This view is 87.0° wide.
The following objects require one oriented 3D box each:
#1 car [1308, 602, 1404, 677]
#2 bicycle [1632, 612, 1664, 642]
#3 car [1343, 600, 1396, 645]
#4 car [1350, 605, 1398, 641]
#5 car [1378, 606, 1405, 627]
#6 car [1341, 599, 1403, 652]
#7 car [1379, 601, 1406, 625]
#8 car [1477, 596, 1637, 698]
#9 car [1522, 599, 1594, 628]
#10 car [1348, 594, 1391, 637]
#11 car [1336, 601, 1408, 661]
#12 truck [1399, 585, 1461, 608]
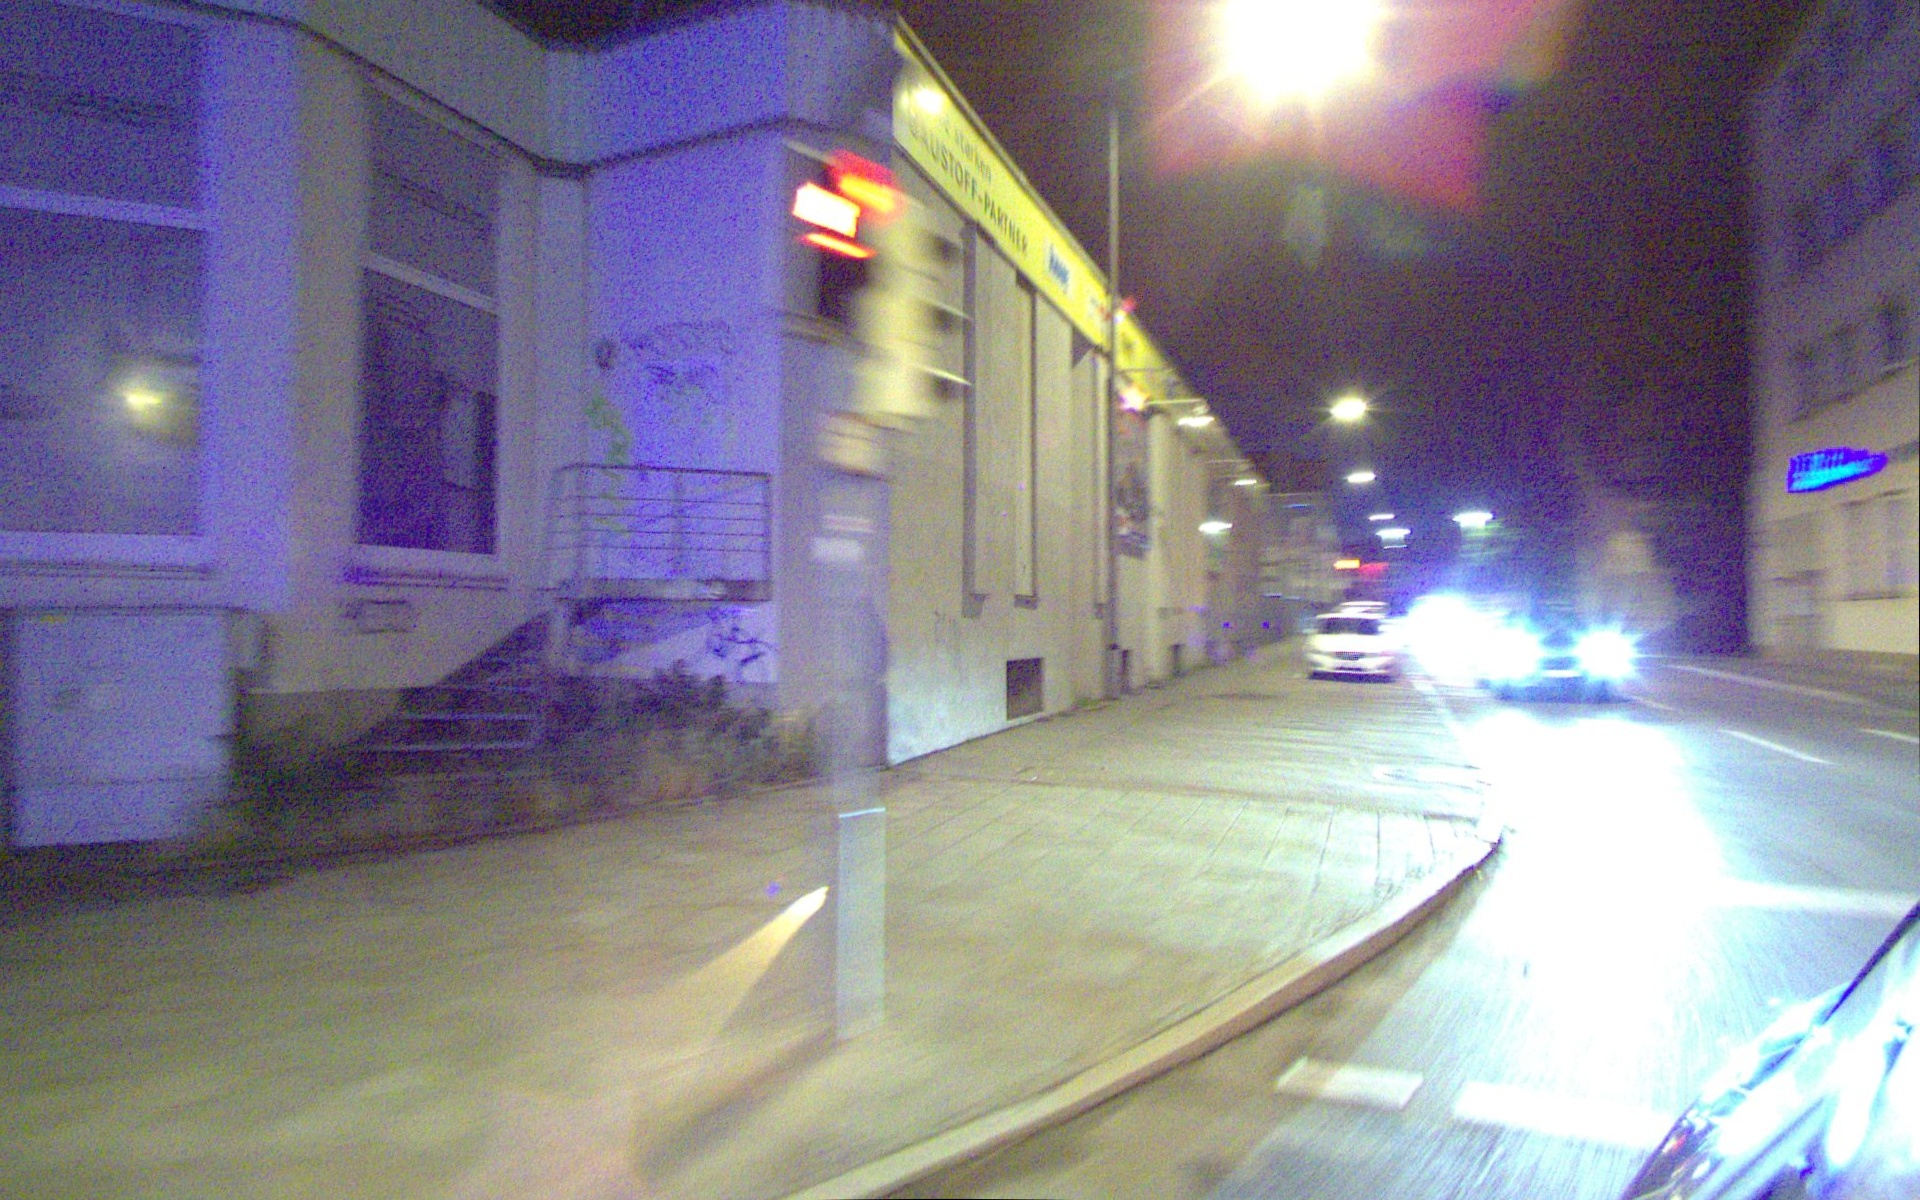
[{"bbox_3d":[9.052,0.827,23.301,1.843,1.508,4.515,-1,0,20],"label":"car"},{"bbox_3d":[25.258,0.973,37.169,0.614,1.065,1.708,-1,0,23],"label":"bicycle"},{"bbox_3d":[15.898,0.849,39.382,1.808,1.609,4.594,1,0,22],"label":"car"},{"bbox_3d":[17.803,0.963,43.586,1.801,1.445,4.157,1,0,22],"label":"car"},{"bbox_3d":[35.488,1.331,83.221,1.803,1.619,4.191,2,1,21],"label":"car"},{"bbox_3d":[14.054,0.833,34.695,1.807,1.643,4.426,1,0,21],"label":"car"},{"bbox_3d":[37.705,1.067,88.327,2.055,1.952,5.330,1,1,22],"label":"car"},{"bbox_3d":[10.806,0.774,18.607,1.977,1.637,3.969,0,0,23],"label":"car"},{"bbox_3d":[40.247,0.888,68.160,3.976,1.913,1.884,-1,0,37],"label":"car"},{"bbox_3d":[19.664,0.731,48.553,1.786,1.899,4.736,2,0,23],"label":"car"},{"bbox_3d":[11.802,0.820,29.218,1.758,1.564,4.515,-1,0,20],"label":"car"},{"bbox_3d":[79.903,-0.582,172.237,9.313,3.769,1.972,0,0,40],"label":"truck"}]
